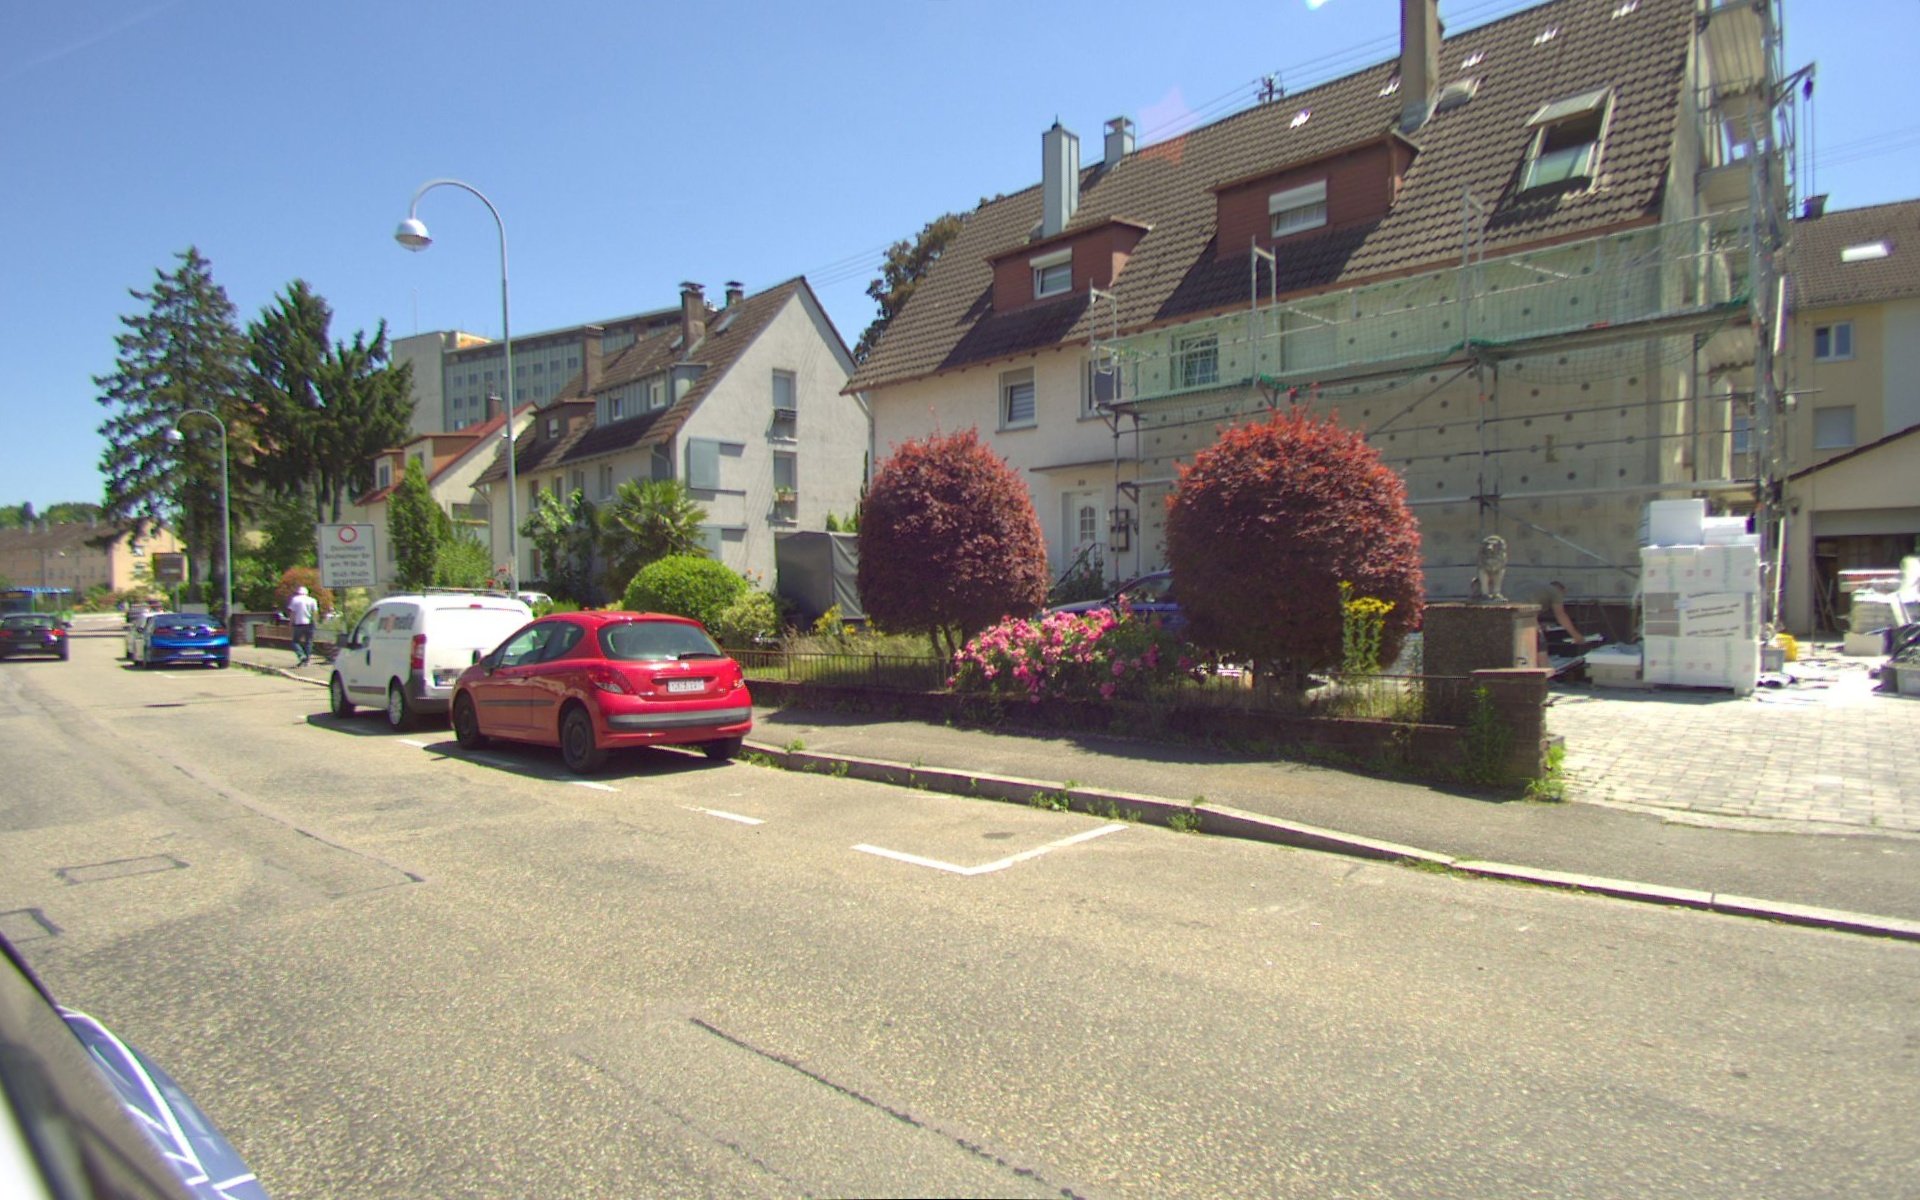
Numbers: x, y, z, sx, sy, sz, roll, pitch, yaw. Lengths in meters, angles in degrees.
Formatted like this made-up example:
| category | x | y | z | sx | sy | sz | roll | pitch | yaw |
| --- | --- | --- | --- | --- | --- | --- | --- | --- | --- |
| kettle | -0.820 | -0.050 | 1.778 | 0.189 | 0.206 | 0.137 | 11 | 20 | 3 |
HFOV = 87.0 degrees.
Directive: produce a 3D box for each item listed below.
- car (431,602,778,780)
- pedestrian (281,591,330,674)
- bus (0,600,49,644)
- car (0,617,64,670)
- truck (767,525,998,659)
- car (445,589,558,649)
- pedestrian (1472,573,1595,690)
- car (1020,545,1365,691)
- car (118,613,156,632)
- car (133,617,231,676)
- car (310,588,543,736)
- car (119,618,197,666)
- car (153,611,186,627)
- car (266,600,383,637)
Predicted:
| category | x | y | z | sx | sy | sz | roll | pitch | yaw |
| --- | --- | --- | --- | --- | --- | --- | --- | --- | --- |
| car | -3.818 | 0.799 | 10.500 | 4.058 | 1.489 | 1.741 | -1 | -2 | 43 |
| pedestrian | -15.950 | 0.771 | 24.652 | 0.681 | 1.903 | 1.020 | -8 | 6 | -40 |
| bus | -72.130 | 1.574 | 77.626 | 2.867 | 3.103 | 12.582 | -2 | 1 | -40 |
| car | -27.952 | 1.245 | 30.256 | 1.711 | 1.427 | 4.005 | 0 | 0 | -41 |
| truck | -1.202 | -0.208 | 16.917 | 1.546 | 1.952 | 3.728 | -1 | 3 | 42 |
| car | -13.994 | 0.517 | 30.791 | 1.749 | 1.519 | 4.366 | -4 | 5 | -44 |
| pedestrian | 6.697 | 0.338 | 11.858 | 1.206 | 1.273 | 0.698 | 0 | 4 | 30 |
| car | 2.911 | 0.195 | 13.141 | 3.998 | 1.525 | 1.669 | -1 | 5 | 41 |
| car | -69.594 | 1.873 | 85.615 | 1.716 | 1.516 | 4.156 | 0 | 0 | -28 |
| car | -21.022 | 1.198 | 27.280 | 1.748 | 1.450 | 4.367 | 1 | -1 | -42 |
| car | -7.431 | 0.765 | 13.951 | 3.888 | 1.749 | 1.703 | -1 | -1 | 44 |
| car | -25.296 | 1.277 | 31.877 | 1.560 | 1.434 | 3.944 | 1 | -1 | -44 |
| car | -74.858 | 1.777 | 95.888 | 1.781 | 1.500 | 4.400 | 0 | -1 | -29 |
| car | -29.725 | 0.823 | 47.402 | 4.412 | 1.452 | 1.850 | -3 | 2 | -39 |
